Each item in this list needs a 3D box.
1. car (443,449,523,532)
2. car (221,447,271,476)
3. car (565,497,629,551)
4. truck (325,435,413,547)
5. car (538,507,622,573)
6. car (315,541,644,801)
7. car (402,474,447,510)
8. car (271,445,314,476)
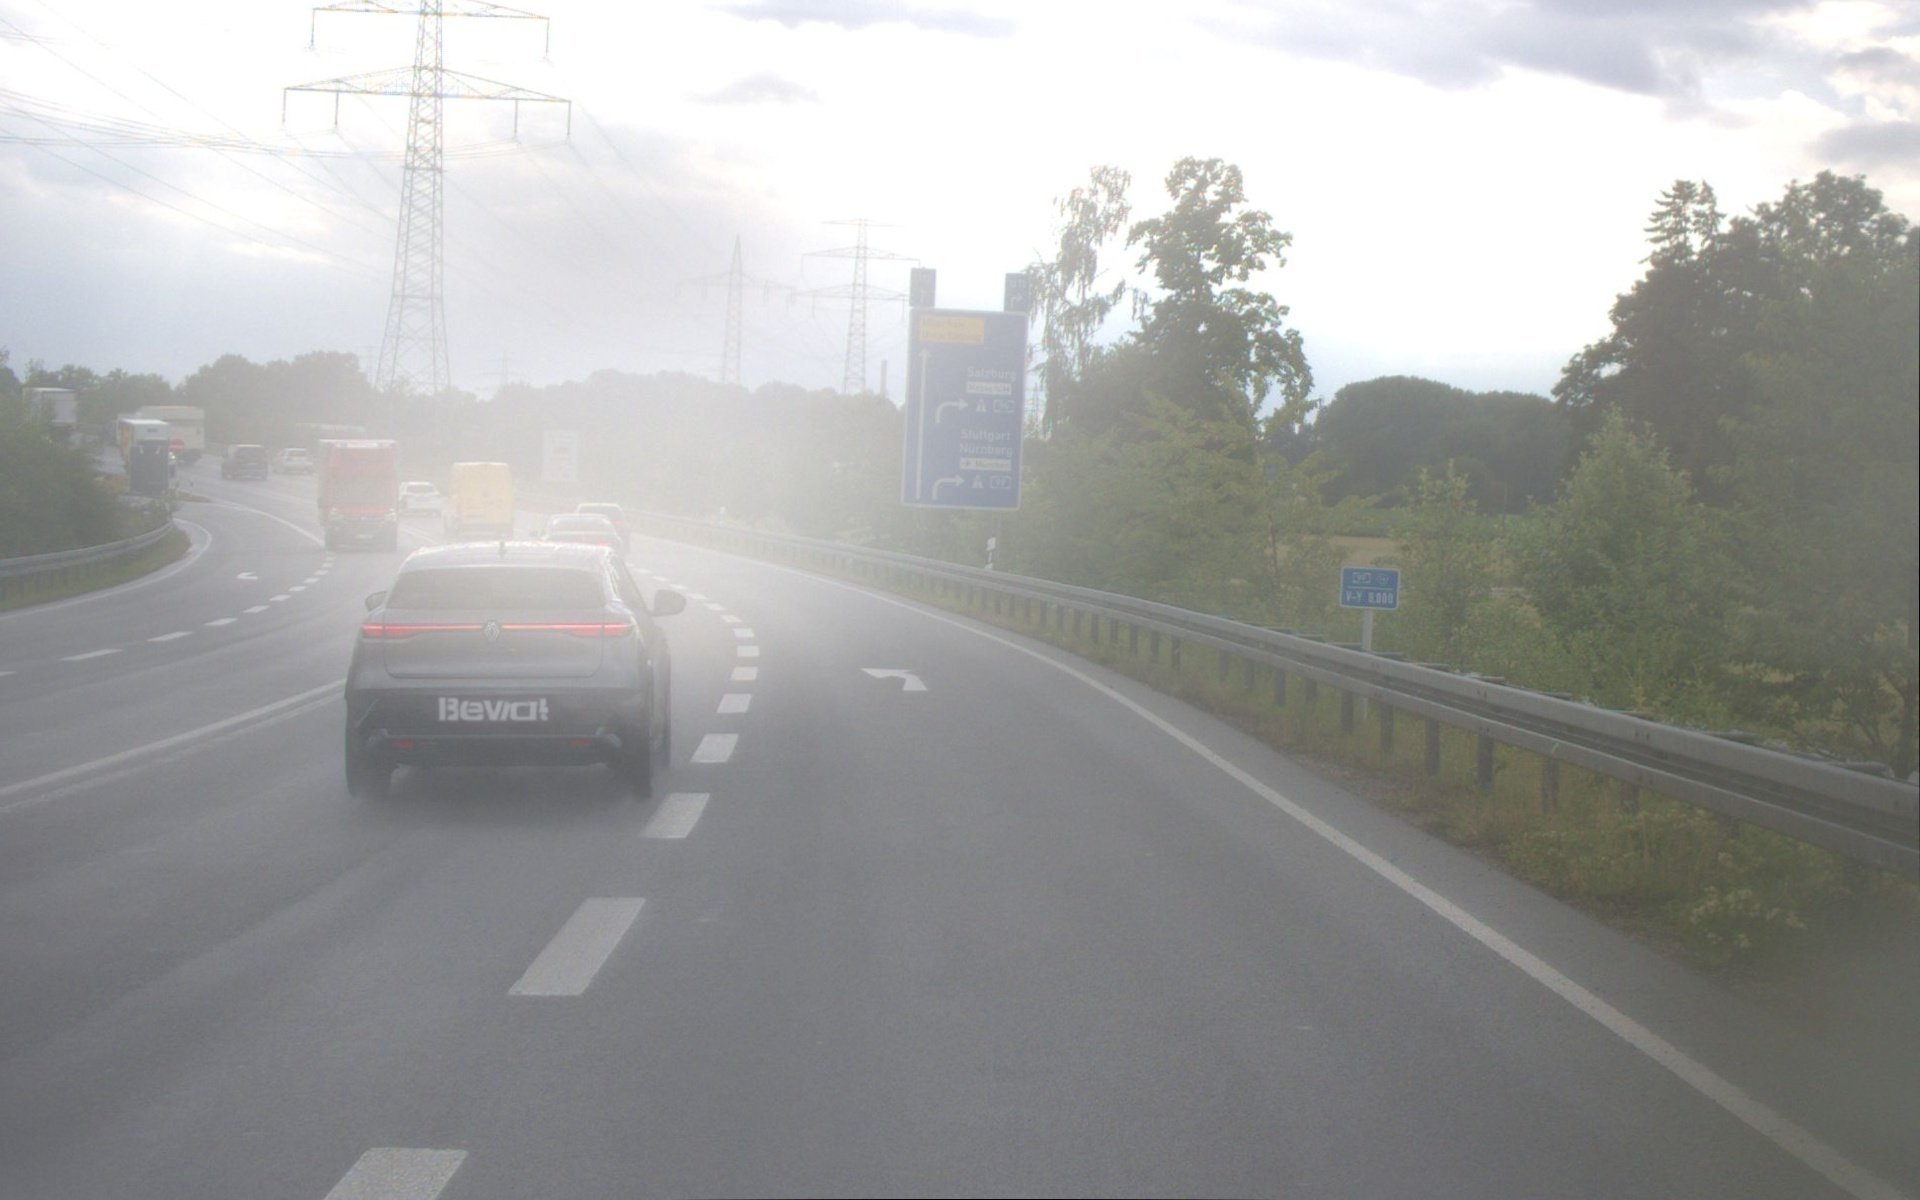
[{"bbox_3d":[-16.425,-3.760,118.143,2.572,2.716,7.198,-2,2,-8],"label":"car"},{"bbox_3d":[-39.754,-7.720,191.337,1.791,1.436,4.001,4,1,-25],"label":"car"},{"bbox_3d":[-10.685,-2.240,101.225,1.791,1.536,4.001,1,1,-6],"label":"car"},{"bbox_3d":[-17.884,-3.338,104.309,2.480,3.280,7.283,-1,2,-9],"label":"truck"},{"bbox_3d":[-8.465,-1.349,76.405,1.791,1.436,4.001,0,1,-7],"label":"car"},{"bbox_3d":[-2.858,0.364,21.158,1.791,1.436,4.001,0,1,-5],"label":"car"},{"bbox_3d":[-22.082,-4.463,141.762,1.791,1.436,4.001,0,2,-9],"label":"car"},{"bbox_3d":[-38.902,-8.157,200.310,1.799,1.569,4.262,2,3,-20],"label":"car"}]
